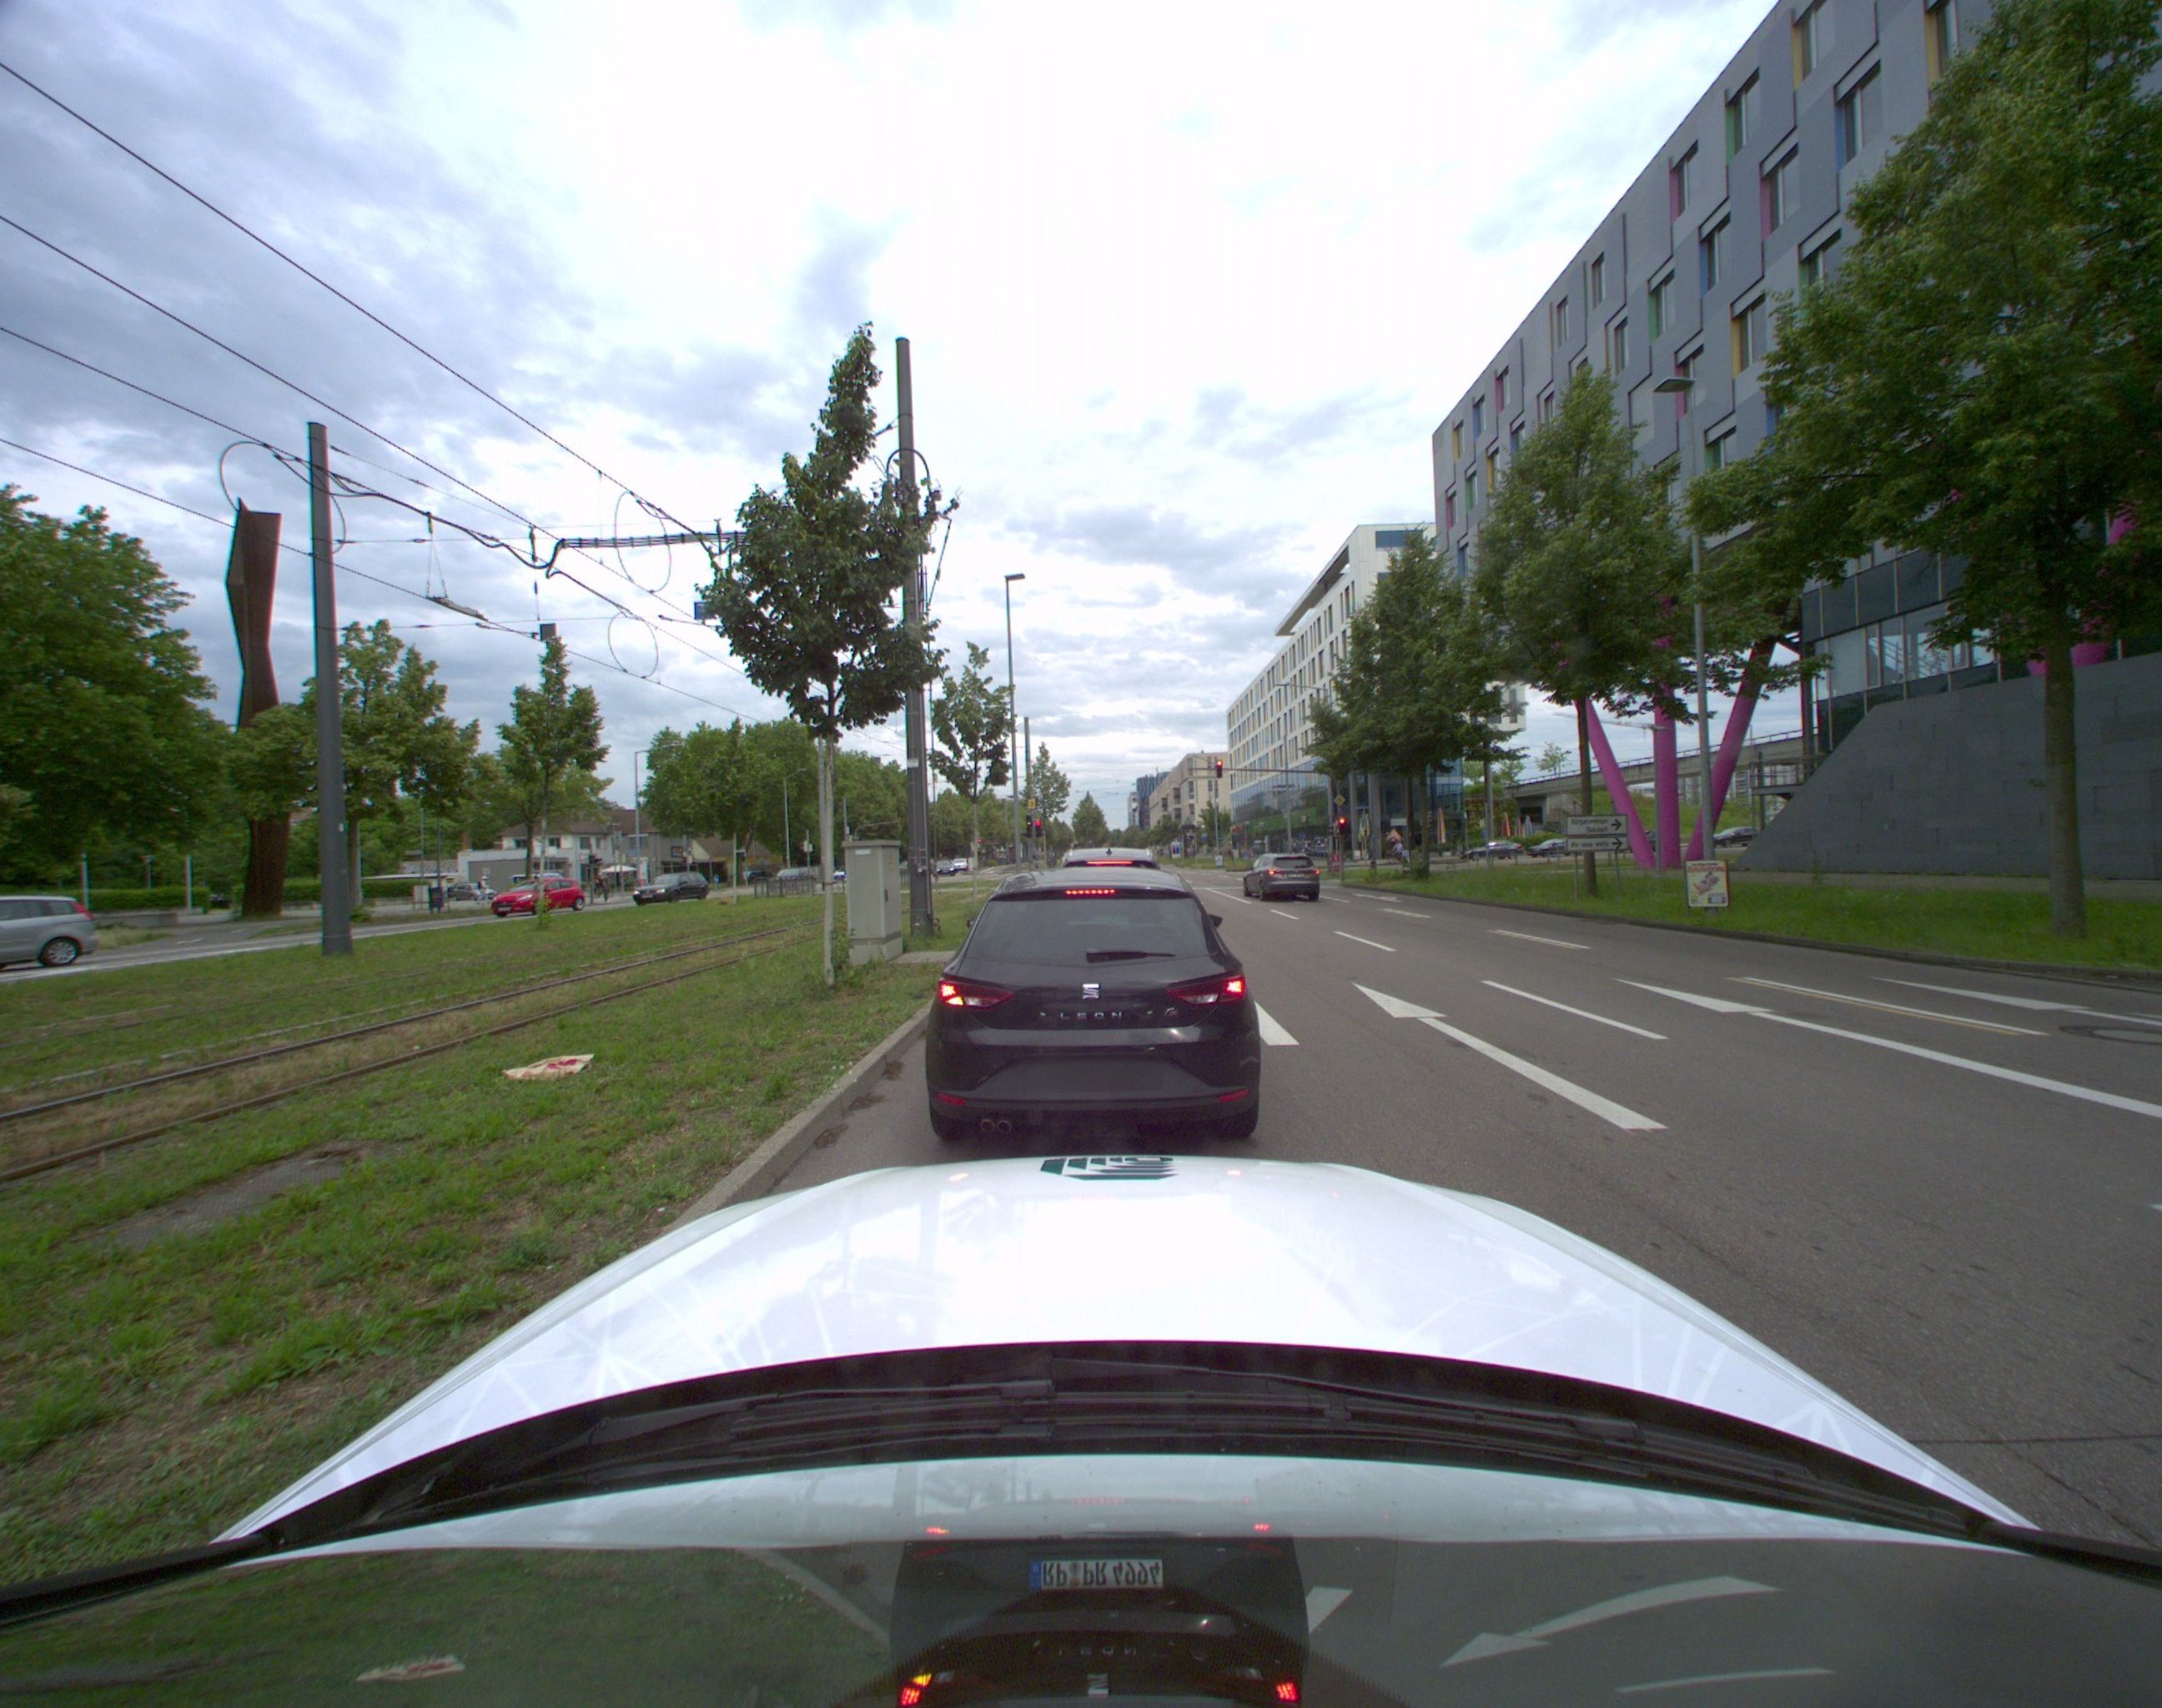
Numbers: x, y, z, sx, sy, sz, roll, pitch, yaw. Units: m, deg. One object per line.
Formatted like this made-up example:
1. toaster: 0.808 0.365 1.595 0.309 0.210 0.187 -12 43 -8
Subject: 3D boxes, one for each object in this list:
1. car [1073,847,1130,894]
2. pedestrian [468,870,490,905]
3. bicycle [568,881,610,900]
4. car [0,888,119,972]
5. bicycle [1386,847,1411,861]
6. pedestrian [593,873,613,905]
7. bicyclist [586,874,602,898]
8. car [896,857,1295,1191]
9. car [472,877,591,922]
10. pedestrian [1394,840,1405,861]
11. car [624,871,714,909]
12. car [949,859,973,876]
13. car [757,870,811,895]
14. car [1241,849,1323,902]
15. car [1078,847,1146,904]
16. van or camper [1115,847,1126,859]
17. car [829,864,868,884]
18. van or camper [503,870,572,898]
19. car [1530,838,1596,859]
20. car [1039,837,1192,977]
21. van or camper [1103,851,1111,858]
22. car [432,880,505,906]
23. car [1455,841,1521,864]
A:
1. car: 0.853 0.576 31.257 1.985 1.682 4.005 -1 0 4
2. pedestrian: -35.942 1.993 48.627 0.910 2.013 0.942 -2 0 -40
3. bicycle: -35.699 2.617 59.121 2.520 1.202 0.734 -2 0 -25
4. car: -23.100 1.643 16.464 1.715 1.643 4.674 -2 0 0
5. bicycle: 25.677 -0.013 65.834 1.784 1.085 0.618 -2 0 3
6. pedestrian: -27.715 2.025 47.240 0.779 1.832 0.771 -2 0 -16
7. bicyclist: -35.445 2.305 59.240 0.854 1.721 0.715 -2 0 -25
8. car: 0.100 0.755 5.584 1.737 1.417 4.001 -1 0 1
9. car: -22.666 1.829 33.843 1.789 1.570 4.331 -2 0 3
10. pedestrian: 25.745 -0.276 65.830 0.612 1.604 0.619 -2 0 4
11. car: -19.012 1.625 37.847 1.658 1.426 4.746 -4 0 1
12. car: -13.480 1.465 91.542 1.987 1.750 4.201 -2 0 1
13. car: -18.775 1.779 51.686 1.795 1.377 4.058 -2 0 1
14. car: 6.458 0.645 26.600 1.741 1.499 4.271 -2 1 2
15. car: 1.082 0.635 26.186 1.984 1.682 4.005 -1 0 5
16. van or camper: 8.051 -0.238 165.285 2.101 2.355 4.927 -1 2 2
17. car: -20.329 1.730 71.517 1.805 1.588 5.079 -2 0 1
18. van or camper: -41.616 2.306 62.318 5.212 2.013 2.481 -2 0 34
19. car: 37.864 -0.432 64.032 4.063 1.455 1.759 -2 0 3
20. car: 0.478 0.629 11.805 1.796 1.624 4.002 -2 0 2
21. van or camper: 6.499 0.141 202.926 1.986 1.615 4.792 -1 1 2
22. car: -48.780 3.130 64.905 4.258 1.816 2.111 -2 0 6
23. car: 31.848 -0.133 63.854 4.233 1.615 1.759 -2 0 3
